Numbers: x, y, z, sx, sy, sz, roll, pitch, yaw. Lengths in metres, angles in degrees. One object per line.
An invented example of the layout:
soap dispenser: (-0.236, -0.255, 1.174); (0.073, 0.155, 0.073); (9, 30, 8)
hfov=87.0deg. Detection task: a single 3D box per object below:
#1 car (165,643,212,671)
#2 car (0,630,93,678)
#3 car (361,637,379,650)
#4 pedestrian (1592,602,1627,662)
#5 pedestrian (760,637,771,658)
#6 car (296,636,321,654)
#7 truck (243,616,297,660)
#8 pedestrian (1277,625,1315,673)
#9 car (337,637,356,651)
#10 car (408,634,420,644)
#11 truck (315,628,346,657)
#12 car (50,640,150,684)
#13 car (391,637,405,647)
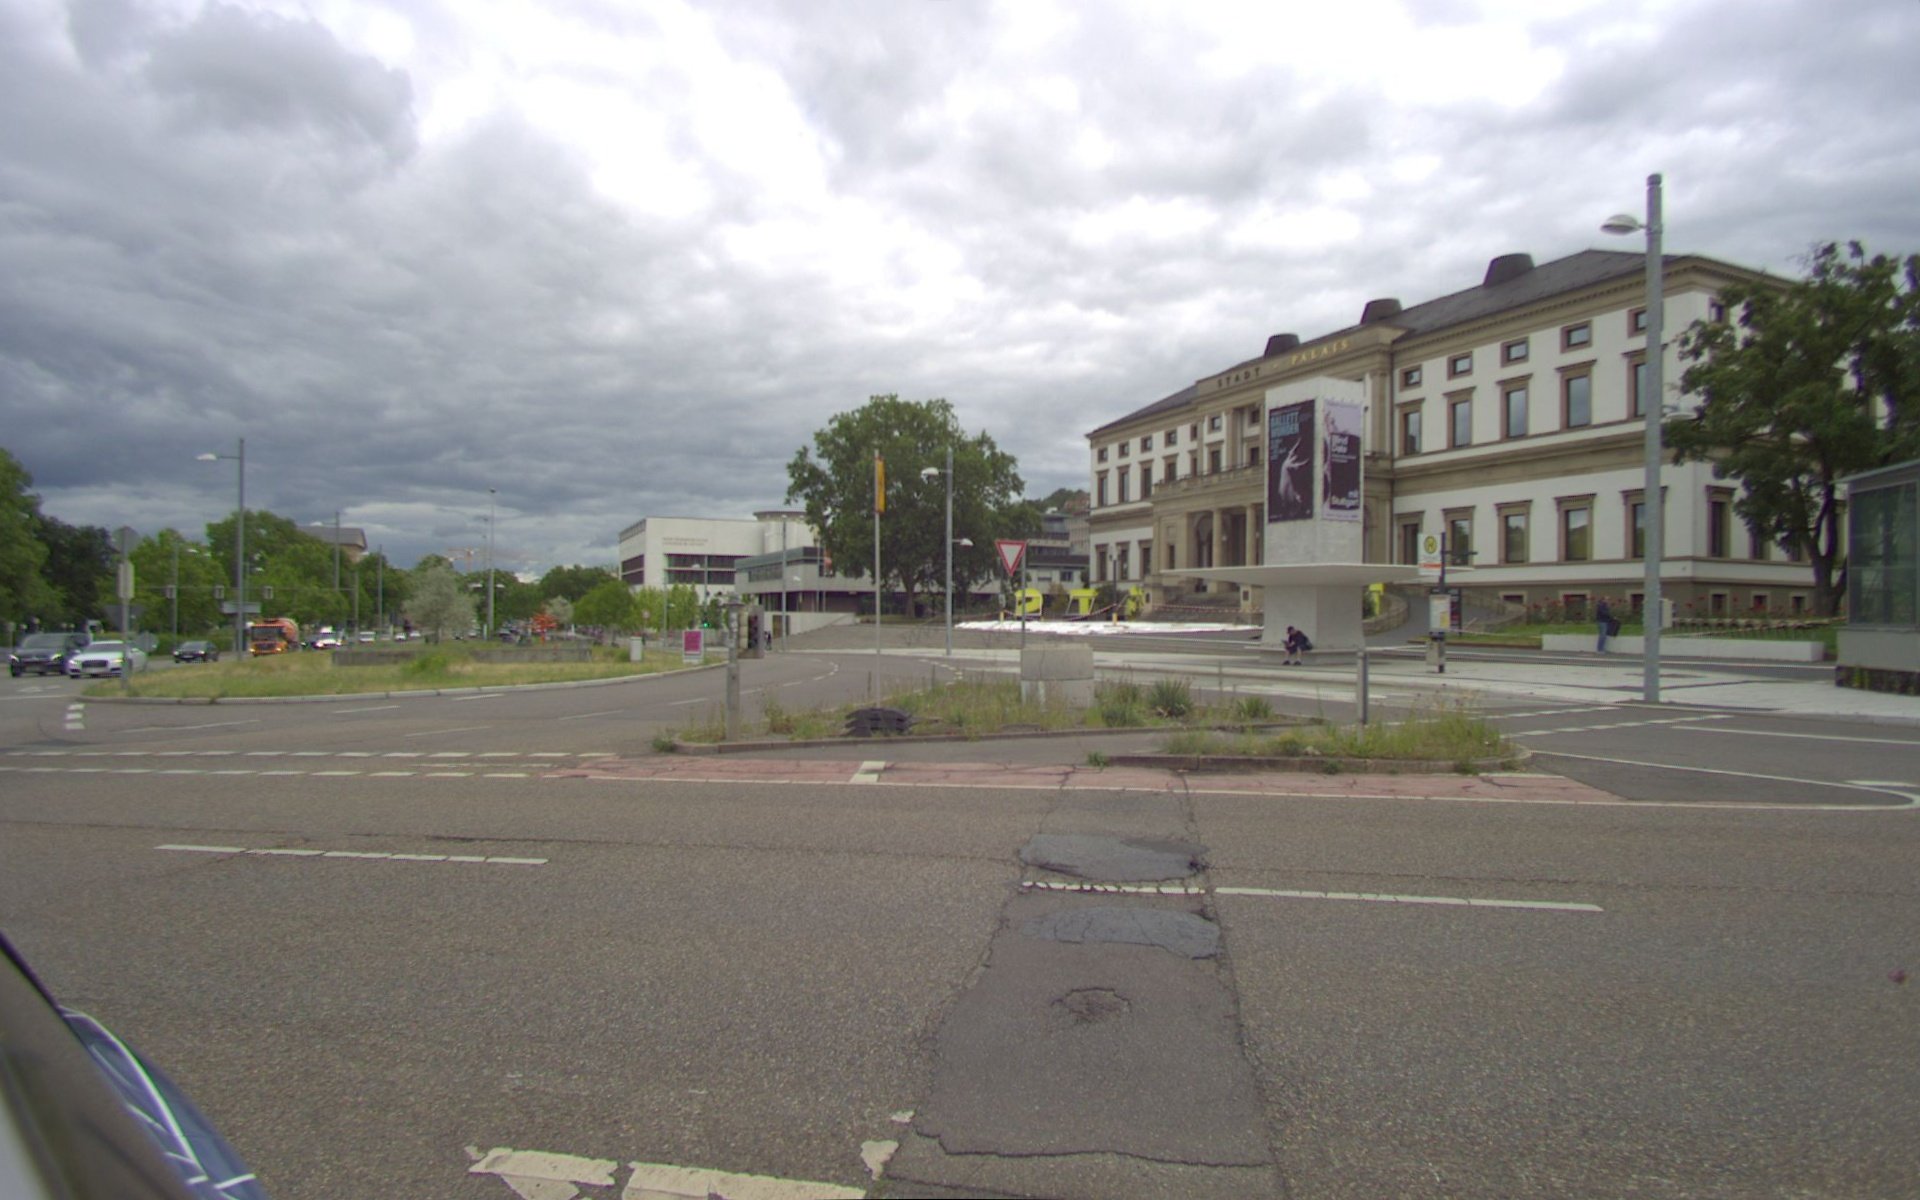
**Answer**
car: (-51.242, 3.756, 67.260); (1.828, 1.752, 3.752); (0, -1, -27)
car: (-40.492, 2.330, 44.986); (1.828, 2.003, 4.656); (1, -2, -26)
car: (-88.047, 6.516, 151.071); (1.753, 1.859, 3.811); (0, -1, -22)
pedestrian: (20.040, 0.995, 31.230); (0.594, 1.827, 0.597); (-1, -1, -11)
pedestrian: (-16.066, 3.914, 83.553); (0.672, 1.762, 0.894); (0, -2, -31)
car: (-70.178, 4.815, 109.033); (1.753, 1.922, 3.811); (0, -2, -26)
truck: (-61.460, 3.363, 90.361); (2.681, 3.644, 9.208); (0, -1, -26)
pedestrian: (9.772, 1.424, 29.413); (0.694, 1.363, 0.763); (0, -1, -19)
car: (-81.640, 5.824, 134.675); (1.753, 1.859, 3.811); (0, -1, -26)
car: (-111.887, 7.979, 207.430); (1.753, 1.859, 3.811); (0, -1, -22)
truck: (-62.749, 4.203, 100.920); (1.923, 2.805, 5.808); (0, -1, -25)
car: (-34.405, 2.429, 40.632); (2.060, 1.621, 4.426); (1, -2, -27)
car: (-104.153, 7.788, 187.601); (1.753, 1.859, 3.811); (0, -1, -22)
